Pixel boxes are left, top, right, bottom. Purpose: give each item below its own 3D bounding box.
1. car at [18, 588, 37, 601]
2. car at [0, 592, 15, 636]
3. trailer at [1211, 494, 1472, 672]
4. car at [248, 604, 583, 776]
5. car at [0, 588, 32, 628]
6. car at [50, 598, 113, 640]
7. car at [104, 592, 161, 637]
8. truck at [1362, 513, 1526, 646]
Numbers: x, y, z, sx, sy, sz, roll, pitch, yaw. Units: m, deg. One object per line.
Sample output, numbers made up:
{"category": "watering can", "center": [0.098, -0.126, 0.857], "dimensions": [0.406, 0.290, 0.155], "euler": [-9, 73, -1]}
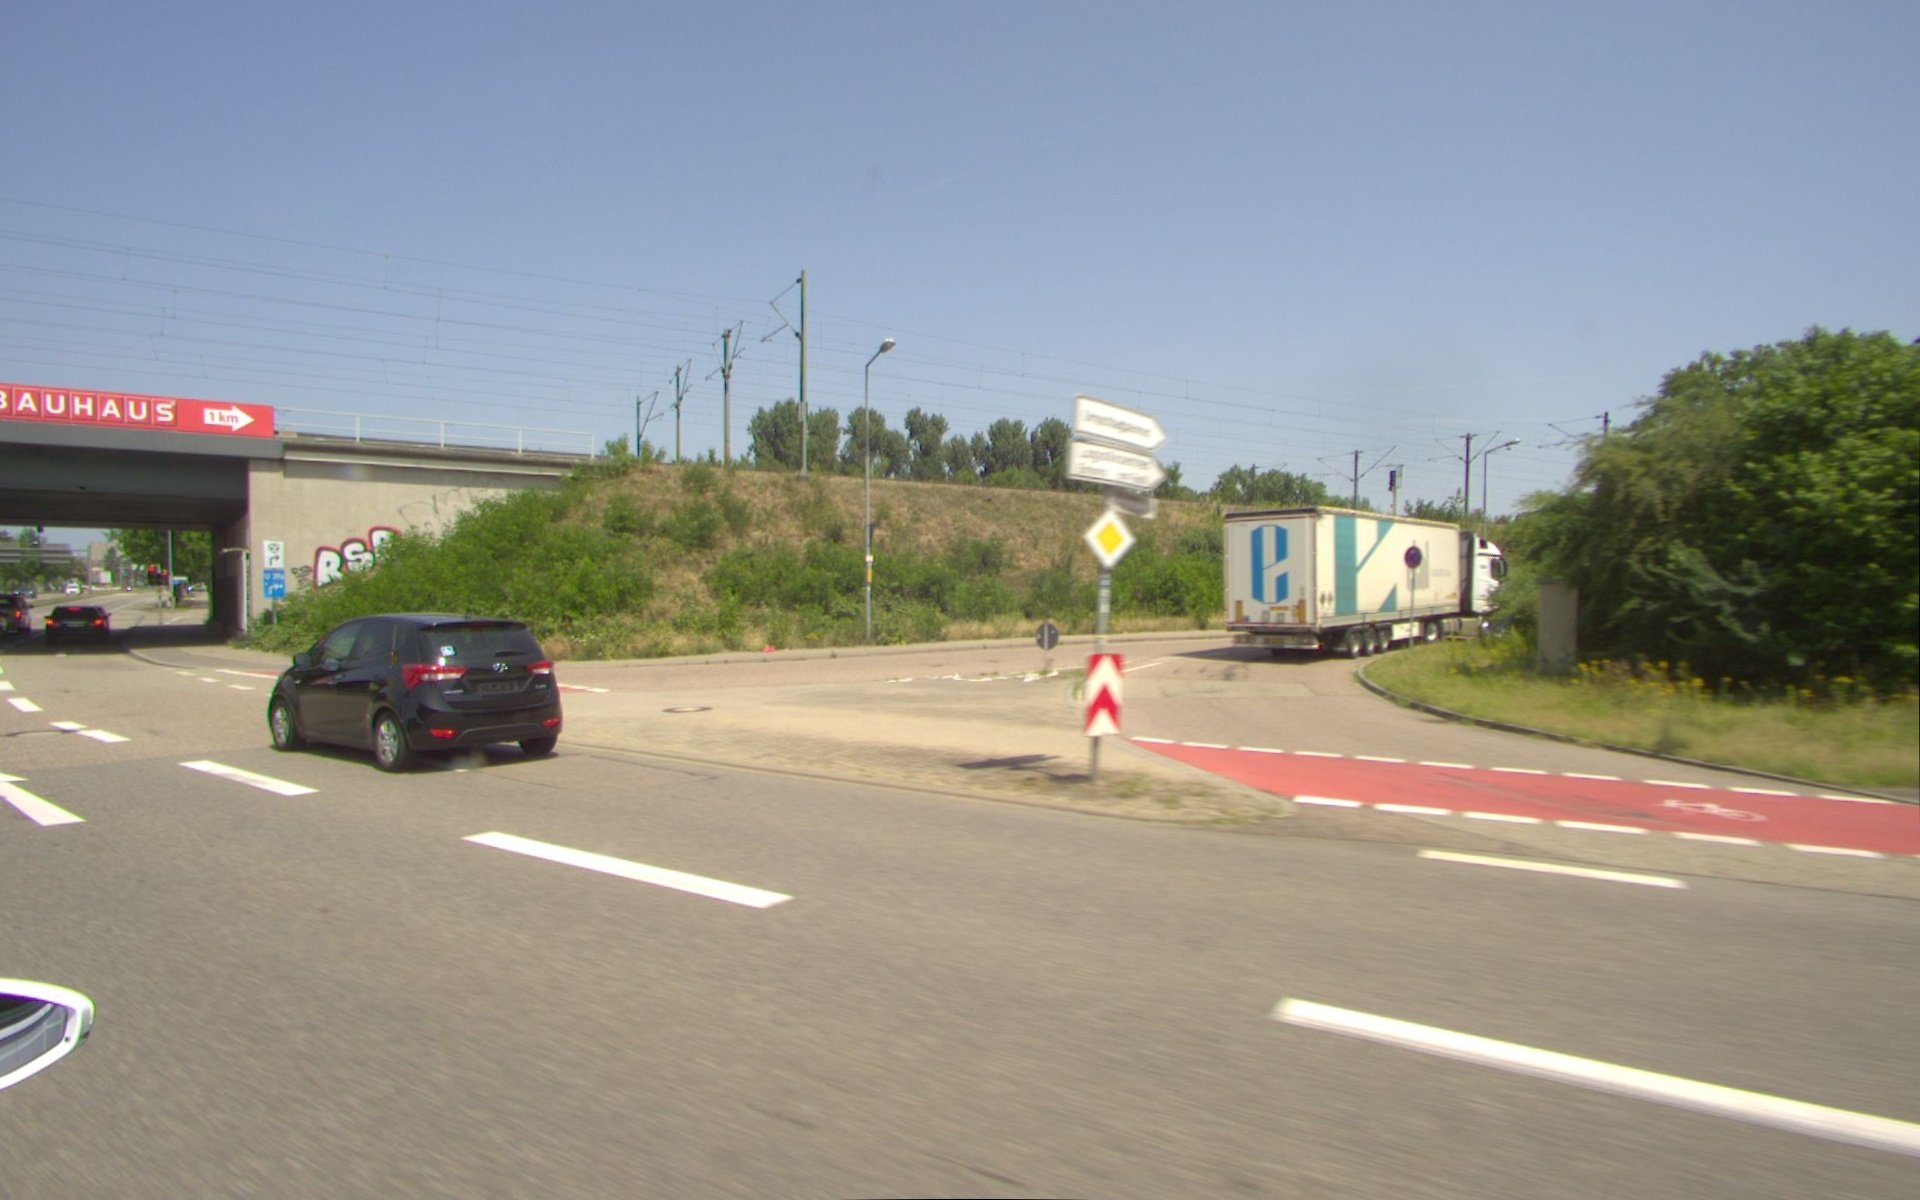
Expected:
{"category": "car", "center": [-128.763, -0.707, 138.326], "dimensions": [1.841, 1.643, 3.964], "euler": [0, -1, -42]}
{"category": "car", "center": [-43.096, 0.623, 44.196], "dimensions": [1.826, 1.915, 3.965], "euler": [0, -1, -41]}
{"category": "trailer", "center": [12.608, -0.613, 31.512], "dimensions": [3.051, 4.428, 14.652], "euler": [1, 2, 40]}
{"category": "car", "center": [-6.272, 0.876, 11.401], "dimensions": [4.022, 1.620, 1.762], "euler": [0, 0, 35]}
{"category": "car", "center": [-46.961, 0.412, 49.233], "dimensions": [1.826, 1.915, 3.965], "euler": [0, -1, -41]}
{"category": "car", "center": [-35.363, 0.751, 40.359], "dimensions": [1.826, 1.589, 3.965], "euler": [0, -1, -41]}
{"category": "car", "center": [-40.338, 0.703, 48.834], "dimensions": [1.977, 2.041, 3.967], "euler": [-3, 2, -39]}
{"category": "truck", "center": [17.752, -0.771, 36.614], "dimensions": [6.004, 4.428, 3.061], "euler": [-2, 2, -38]}
